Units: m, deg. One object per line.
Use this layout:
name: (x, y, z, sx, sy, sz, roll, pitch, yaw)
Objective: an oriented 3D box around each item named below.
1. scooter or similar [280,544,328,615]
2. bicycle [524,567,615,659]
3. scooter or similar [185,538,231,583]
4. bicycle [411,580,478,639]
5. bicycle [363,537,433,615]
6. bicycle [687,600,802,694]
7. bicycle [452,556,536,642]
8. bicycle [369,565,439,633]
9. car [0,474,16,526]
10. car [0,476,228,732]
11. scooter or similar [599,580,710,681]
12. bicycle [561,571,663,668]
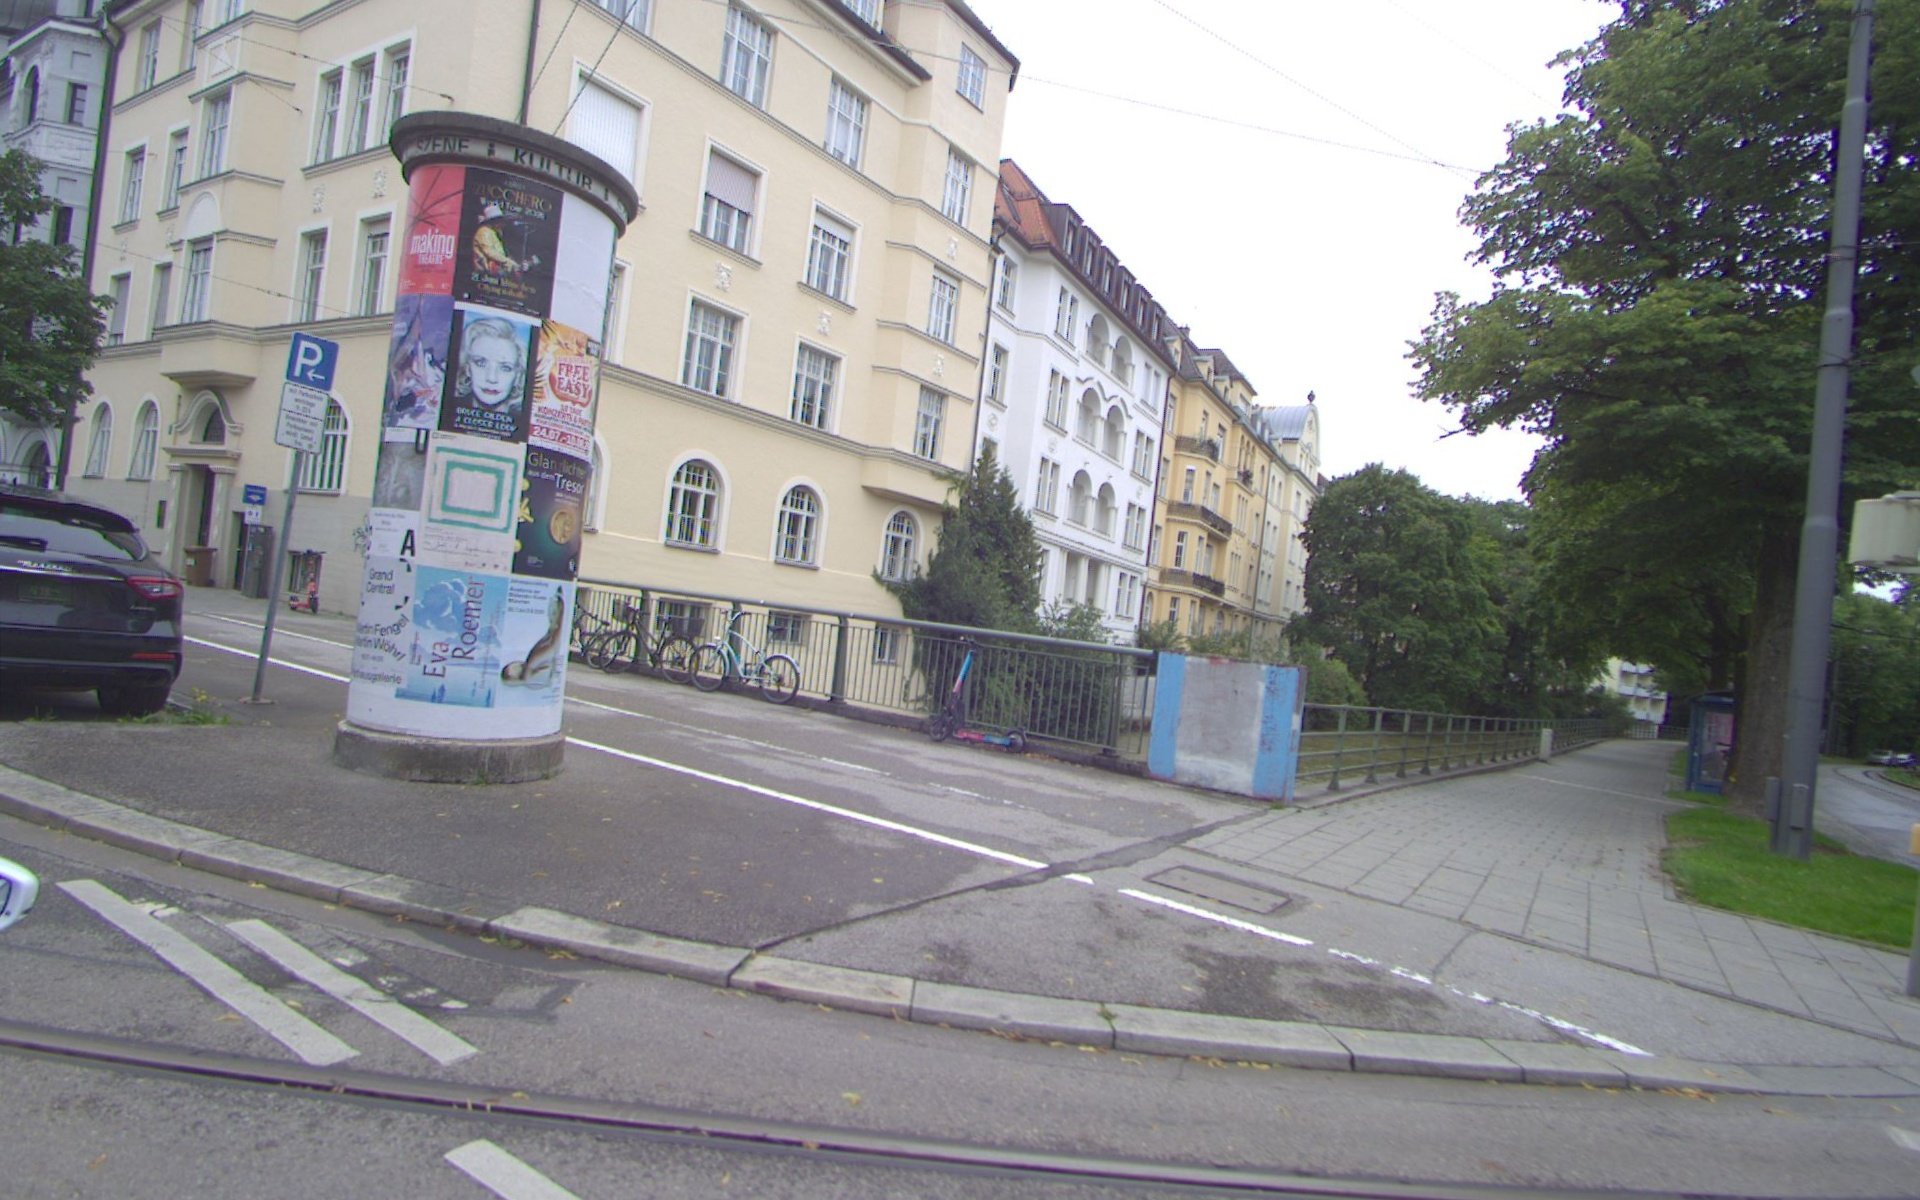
scooter or similar: (-13.222, -0.425, 20.267, 1.124, 1.328, 0.261, 6, -1, 34)
bicycle: (-6.200, 0.203, 15.951, 1.384, 1.297, 0.282, 7, -1, 22)
scooter or similar: (-17.785, -0.931, 23.797, 0.538, 0.957, 0.662, 6, -1, 35)
bicycle: (-9.213, 0.166, 17.990, 1.122, 0.948, 0.249, 5, 3, 12)
bicycle: (-10.651, -0.458, 19.042, 1.512, 1.327, 0.332, 6, -1, 32)
bicycle: (-2.984, 0.643, 13.908, 1.513, 1.094, 0.265, 7, -1, 18)
bicycle: (-7.889, -0.023, 17.032, 1.384, 1.297, 0.282, 7, -1, 22)
bicycle: (-10.327, -0.028, 18.674, 1.417, 1.119, 0.287, 6, 0, 26)
car: (-52.202, -5.554, 51.333, 2.193, 2.642, 5.308, 6, -2, 30)
car: (-7.882, -0.173, 7.873, 4.590, 1.628, 1.904, 7, -2, 34)
scooter or similar: (-4.460, 0.442, 14.684, 1.467, 1.277, 0.245, 7, -1, 11)
bicycle: (-5.266, 0.294, 15.217, 1.383, 1.297, 0.283, 7, -1, 14)
